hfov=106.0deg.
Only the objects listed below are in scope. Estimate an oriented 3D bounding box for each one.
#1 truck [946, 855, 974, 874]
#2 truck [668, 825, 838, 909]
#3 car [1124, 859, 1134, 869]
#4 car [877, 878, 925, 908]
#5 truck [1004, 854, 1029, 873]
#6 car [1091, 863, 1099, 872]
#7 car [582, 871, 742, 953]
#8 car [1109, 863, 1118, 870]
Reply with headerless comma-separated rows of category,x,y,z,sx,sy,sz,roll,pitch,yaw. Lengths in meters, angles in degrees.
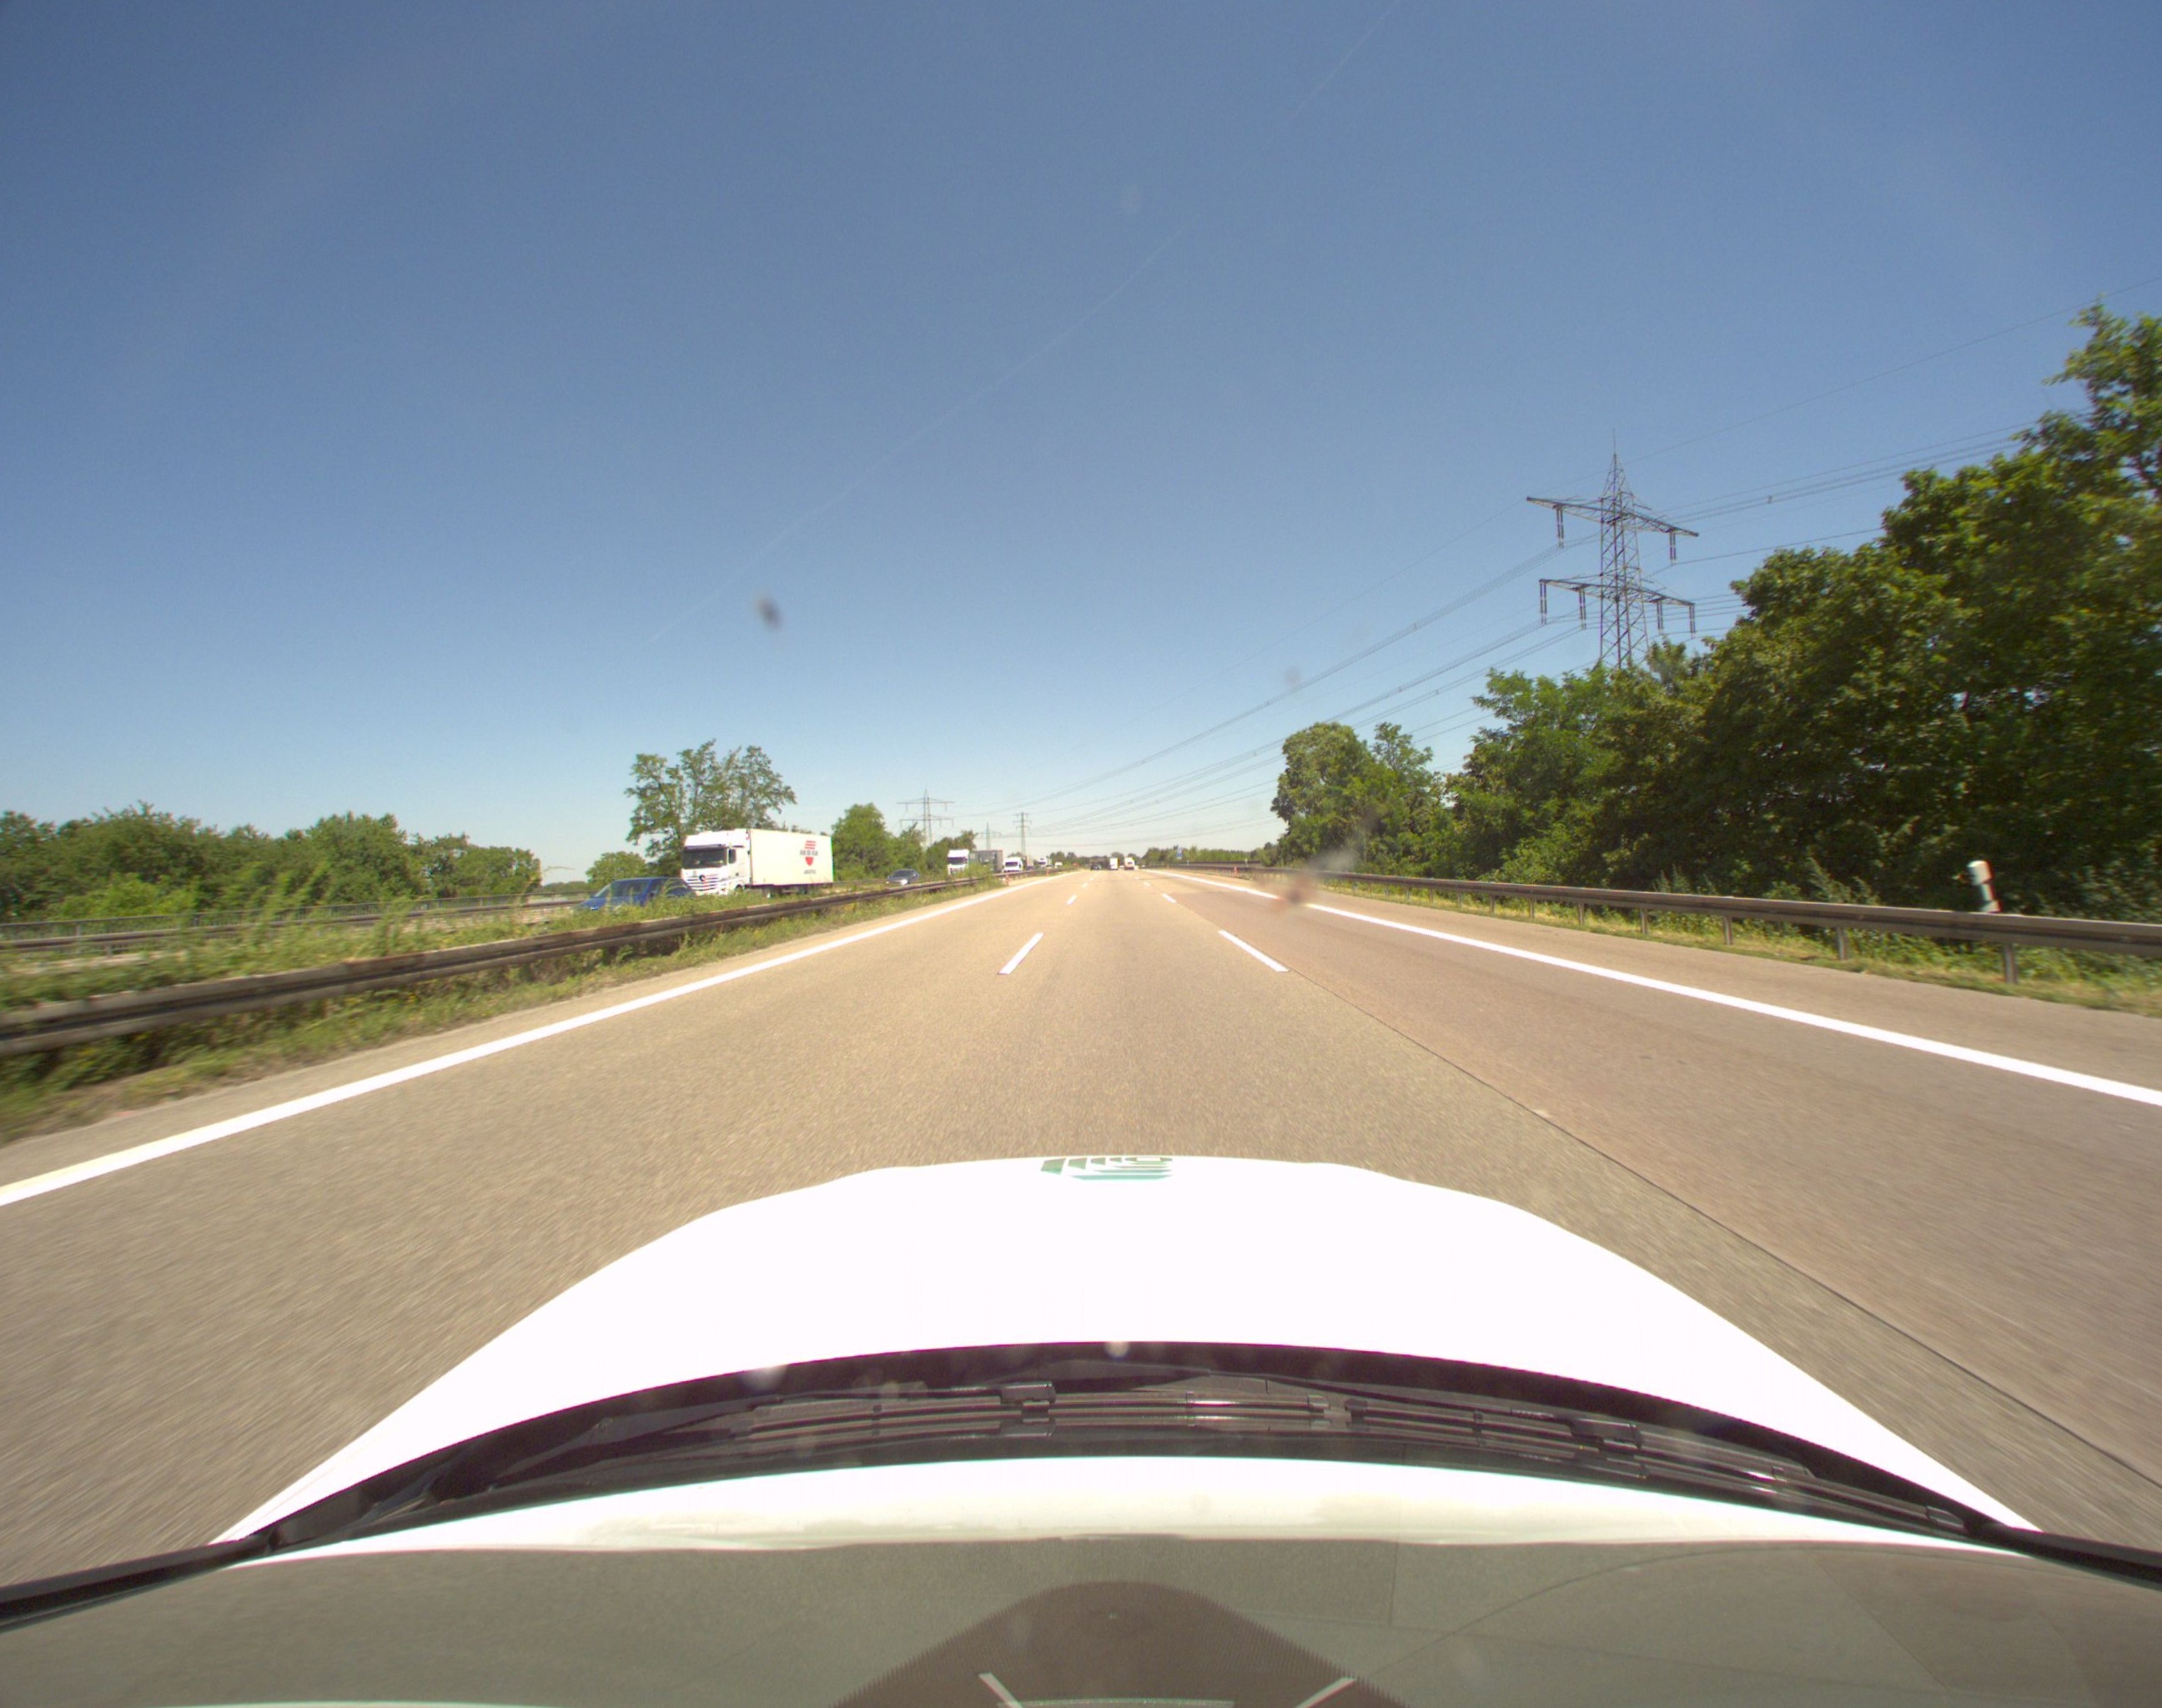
truck,-17.119,1.424,116.023,2.493,2.464,12.282,-2,0,-2
truck,-19.069,0.707,49.532,2.950,4.091,17.032,-2,0,1
car,10.475,2.226,177.247,1.986,2.013,4.001,-2,0,2
car,-11.377,2.425,51.750,1.986,1.651,4.001,-2,0,1
truck,-8.857,1.275,113.232,2.492,2.464,12.289,-2,0,0
car,3.263,3.192,187.800,1.784,2.013,3.890,-1,0,2
car,-12.061,1.588,23.861,1.985,2.013,4.703,-2,0,3
car,8.727,3.348,218.044,2.166,1.929,4.618,-2,0,6
